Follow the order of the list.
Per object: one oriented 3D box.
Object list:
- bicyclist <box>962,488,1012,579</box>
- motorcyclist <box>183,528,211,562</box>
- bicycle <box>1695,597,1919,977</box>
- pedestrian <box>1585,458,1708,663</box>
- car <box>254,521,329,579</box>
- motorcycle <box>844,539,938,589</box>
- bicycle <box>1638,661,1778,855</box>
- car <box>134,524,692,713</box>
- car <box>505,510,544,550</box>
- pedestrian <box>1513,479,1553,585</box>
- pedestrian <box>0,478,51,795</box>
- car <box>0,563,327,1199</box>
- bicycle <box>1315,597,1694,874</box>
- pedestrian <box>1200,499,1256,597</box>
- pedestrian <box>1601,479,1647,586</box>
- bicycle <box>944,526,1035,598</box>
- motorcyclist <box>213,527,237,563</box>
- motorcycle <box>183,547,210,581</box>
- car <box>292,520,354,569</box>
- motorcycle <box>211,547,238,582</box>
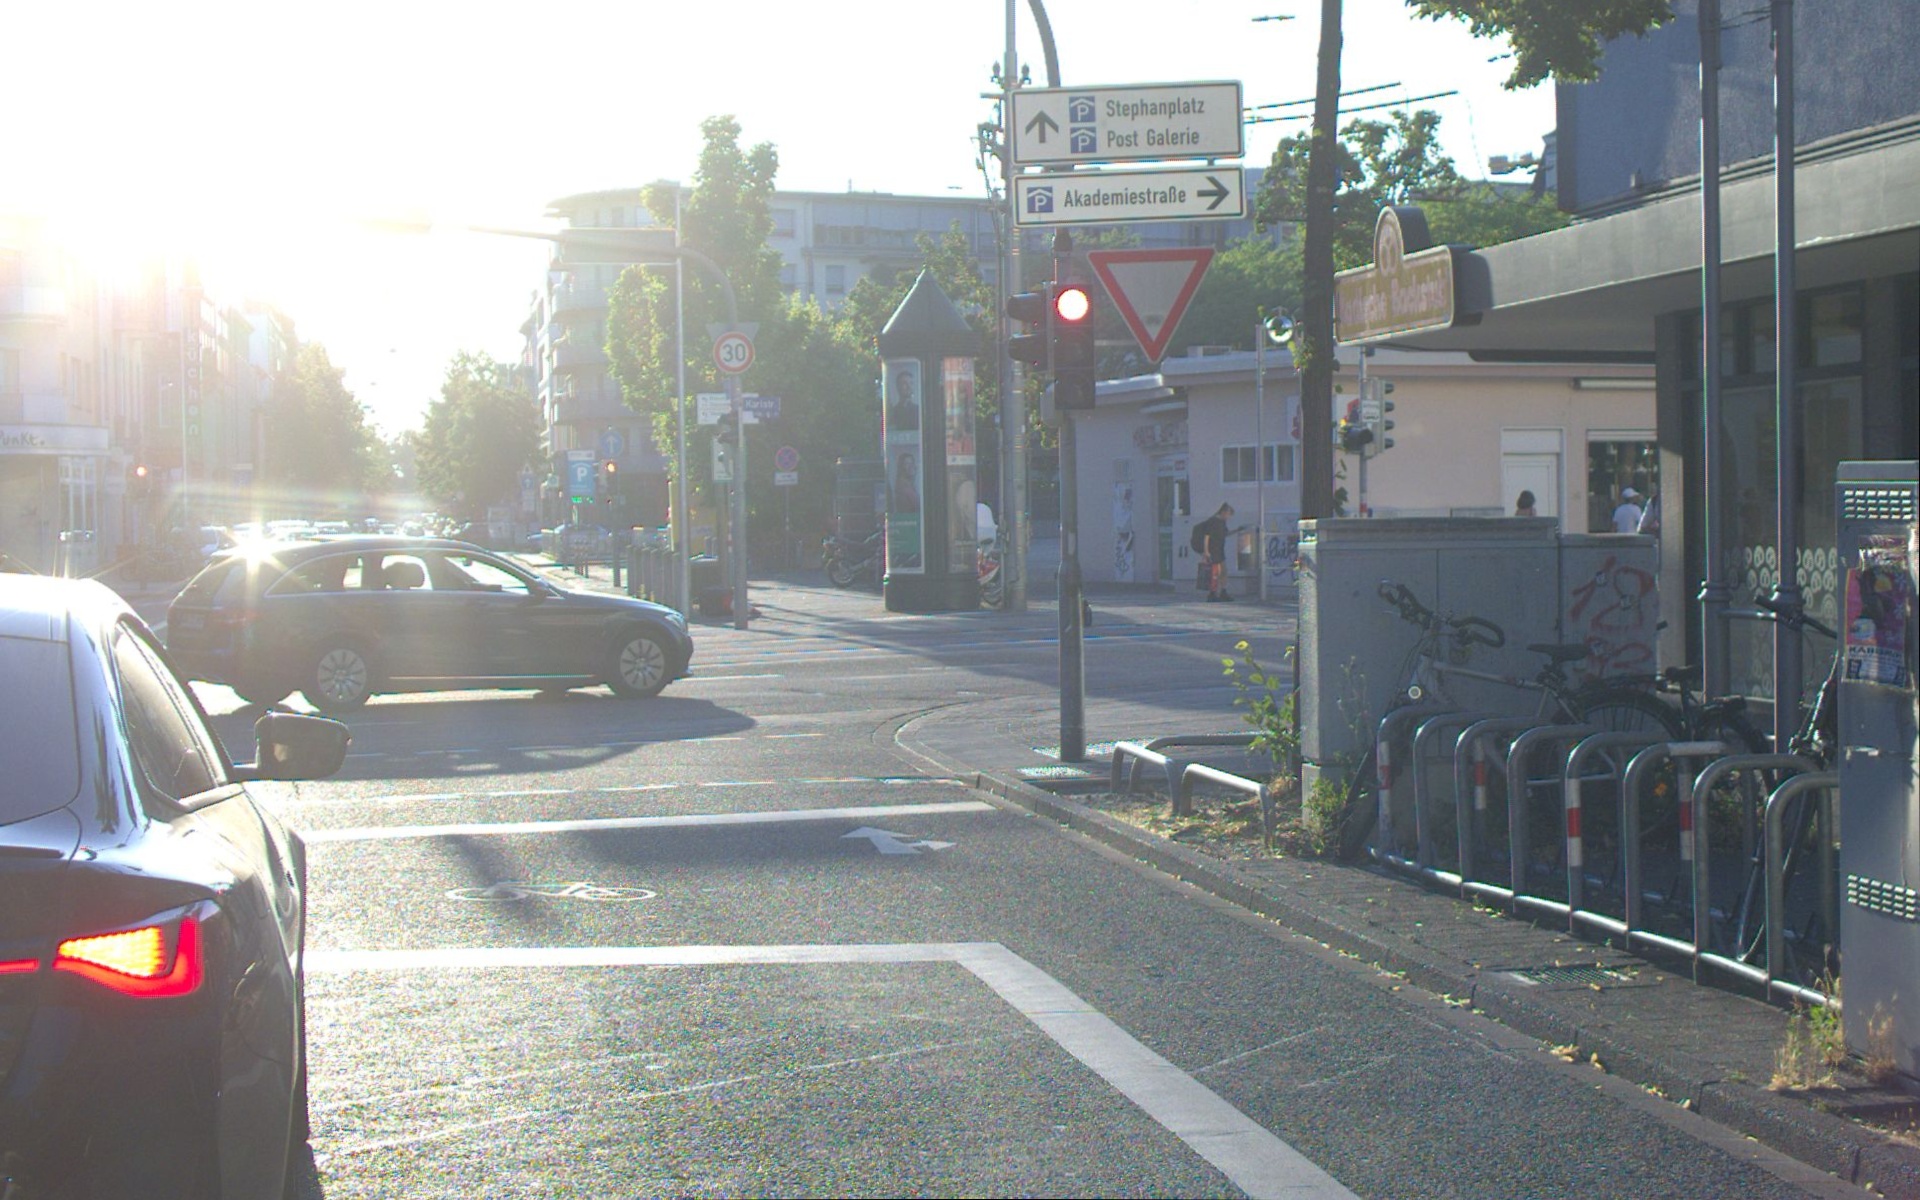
[{"bbox_3d":[0.439,-1.085,56.084,0.550,1.476,0.723,0,1,-27],"label":"bicyclist"},{"bbox_3d":[-20.898,-1.523,94.147,0.575,0.912,2.201,1,1,-8],"label":"motorcyclist"},{"bbox_3d":[3.189,0.609,11.306,1.440,1.216,0.383,1,1,-7],"label":"bicycle"},{"bbox_3d":[6.248,-0.362,31.308,0.677,1.835,0.838,-3,2,-44],"label":"pedestrian"},{"bbox_3d":[-18.433,-1.404,94.890,1.817,1.514,4.001,-1,2,-8],"label":"car"},{"bbox_3d":[-1.365,-0.717,67.875,1.668,0.935,0.856,-1,2,-19],"label":"motorcycle"},{"bbox_3d":[3.337,0.693,15.384,0.249,0.793,1.116,1,1,-7],"label":"bicycle"},{"bbox_3d":[-4.704,0.105,29.817,4.406,1.468,1.818,-2,2,-33],"label":"car"},{"bbox_3d":[-20.975,-3.386,165.757,1.771,1.842,4.001,-1,2,-7],"label":"car"},{"bbox_3d":[9.405,-1.123,56.454,0.442,1.729,0.434,0,1,-33],"label":"pedestrian"},{"bbox_3d":[-6.004,0.225,20.379,1.001,1.854,0.640,-3,2,-28],"label":"pedestrian"},{"bbox_3d":[-2.109,0.666,6.488,1.736,1.424,4.225,0,1,-10],"label":"car"},{"bbox_3d":[2.396,0.589,15.152,1.612,1.167,0.318,-1,1,-6],"label":"bicycle"},{"bbox_3d":[4.209,-0.826,54.005,0.734,1.524,0.472,1,1,31],"label":"pedestrian"},{"bbox_3d":[10.769,-1.092,55.770,0.478,1.729,0.531,0,1,-33],"label":"pedestrian"},{"bbox_3d":[0.471,-0.623,56.017,0.550,1.155,2.144,0,1,-27],"label":"bicycle"},{"bbox_3d":[-20.017,-1.501,93.641,0.575,0.992,0.703,1,1,-8],"label":"motorcyclist"},{"bbox_3d":[-20.901,-0.993,94.136,0.575,0.912,2.201,1,1,-8],"label":"motorcycle"},{"bbox_3d":[-20.932,-1.840,113.086,1.817,1.514,4.001,-1,2,-8],"label":"car"},{"bbox_3d":[-20.055,-0.974,93.747,0.575,0.912,2.201,1,1,-8],"label":"motorcycle"}]
